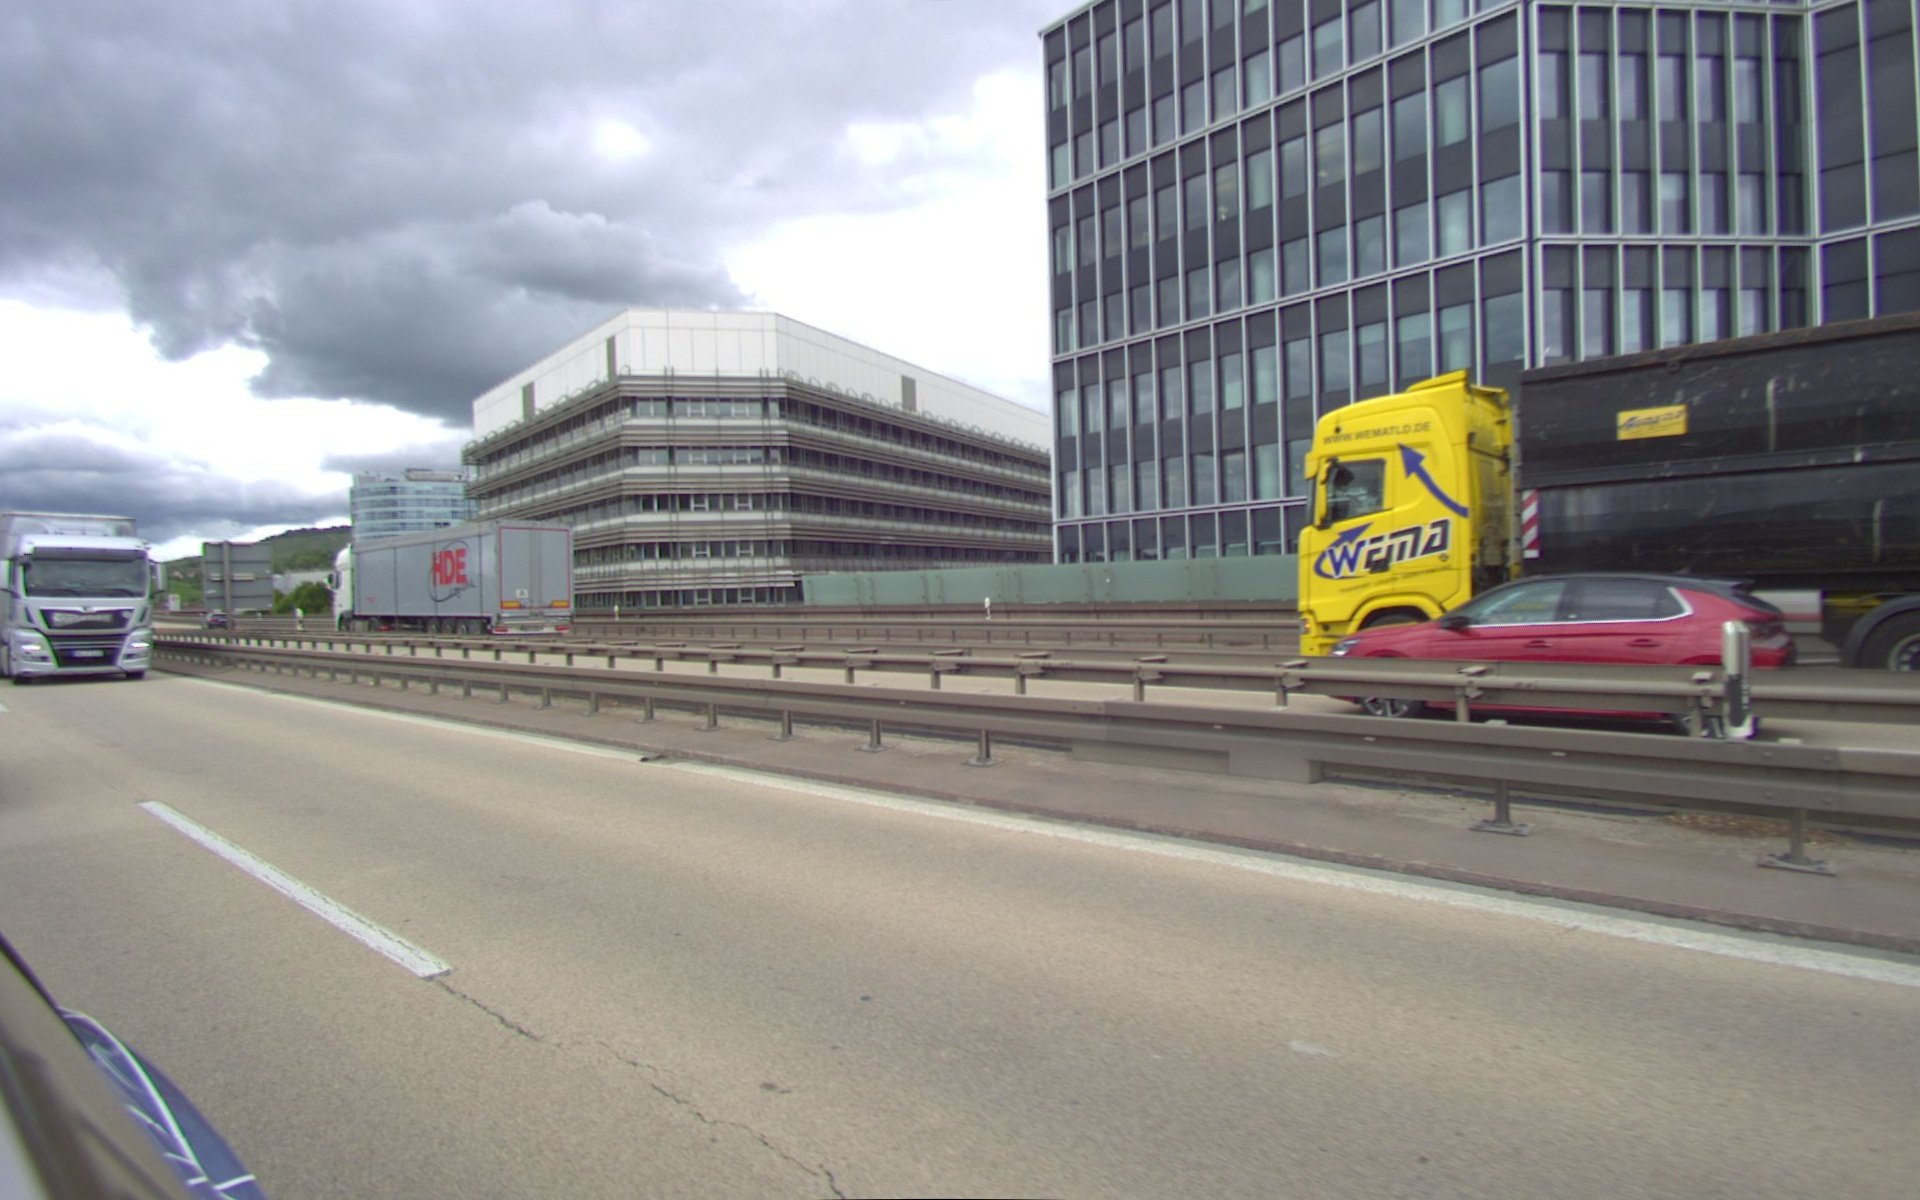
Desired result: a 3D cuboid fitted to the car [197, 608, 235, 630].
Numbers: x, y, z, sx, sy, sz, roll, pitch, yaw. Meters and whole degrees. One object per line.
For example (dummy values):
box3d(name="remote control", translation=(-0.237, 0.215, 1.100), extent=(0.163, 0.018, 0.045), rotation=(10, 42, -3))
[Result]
box3d(name="car", translation=(-60.813, 1.527, 82.706), extent=(4.359, 1.662, 1.665), rotation=(-1, 1, 43))

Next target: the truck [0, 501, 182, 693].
box3d(name="truck", translation=(-21.319, -0.098, 24.424), extent=(5.689, 4.067, 3.100), rotation=(-1, 2, 44))

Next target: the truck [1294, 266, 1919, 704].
box3d(name="truck", translation=(9.881, -1.087, 10.726), extent=(11.855, 4.096, 3.024), rotation=(-1, 0, 43))

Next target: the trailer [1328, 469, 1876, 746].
box3d(name="trailer", translation=(5.819, 0.083, 9.479), extent=(3.998, 2.029, 1.973), rotation=(-2, -1, 41))

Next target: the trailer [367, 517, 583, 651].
box3d(name="trailer", translation=(-17.289, -0.453, 35.399), extent=(11.888, 4.017, 2.813), rotation=(-1, 0, 44))

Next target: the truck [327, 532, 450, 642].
box3d(name="truck", translation=(-23.148, -0.457, 40.885), extent=(5.647, 4.110, 2.741), rotation=(-1, 0, 43))

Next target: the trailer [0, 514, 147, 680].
box3d(name="trailer", translation=(-27.037, -0.063, 29.833), extent=(11.767, 4.056, 3.147), rotation=(-1, 1, 44))
